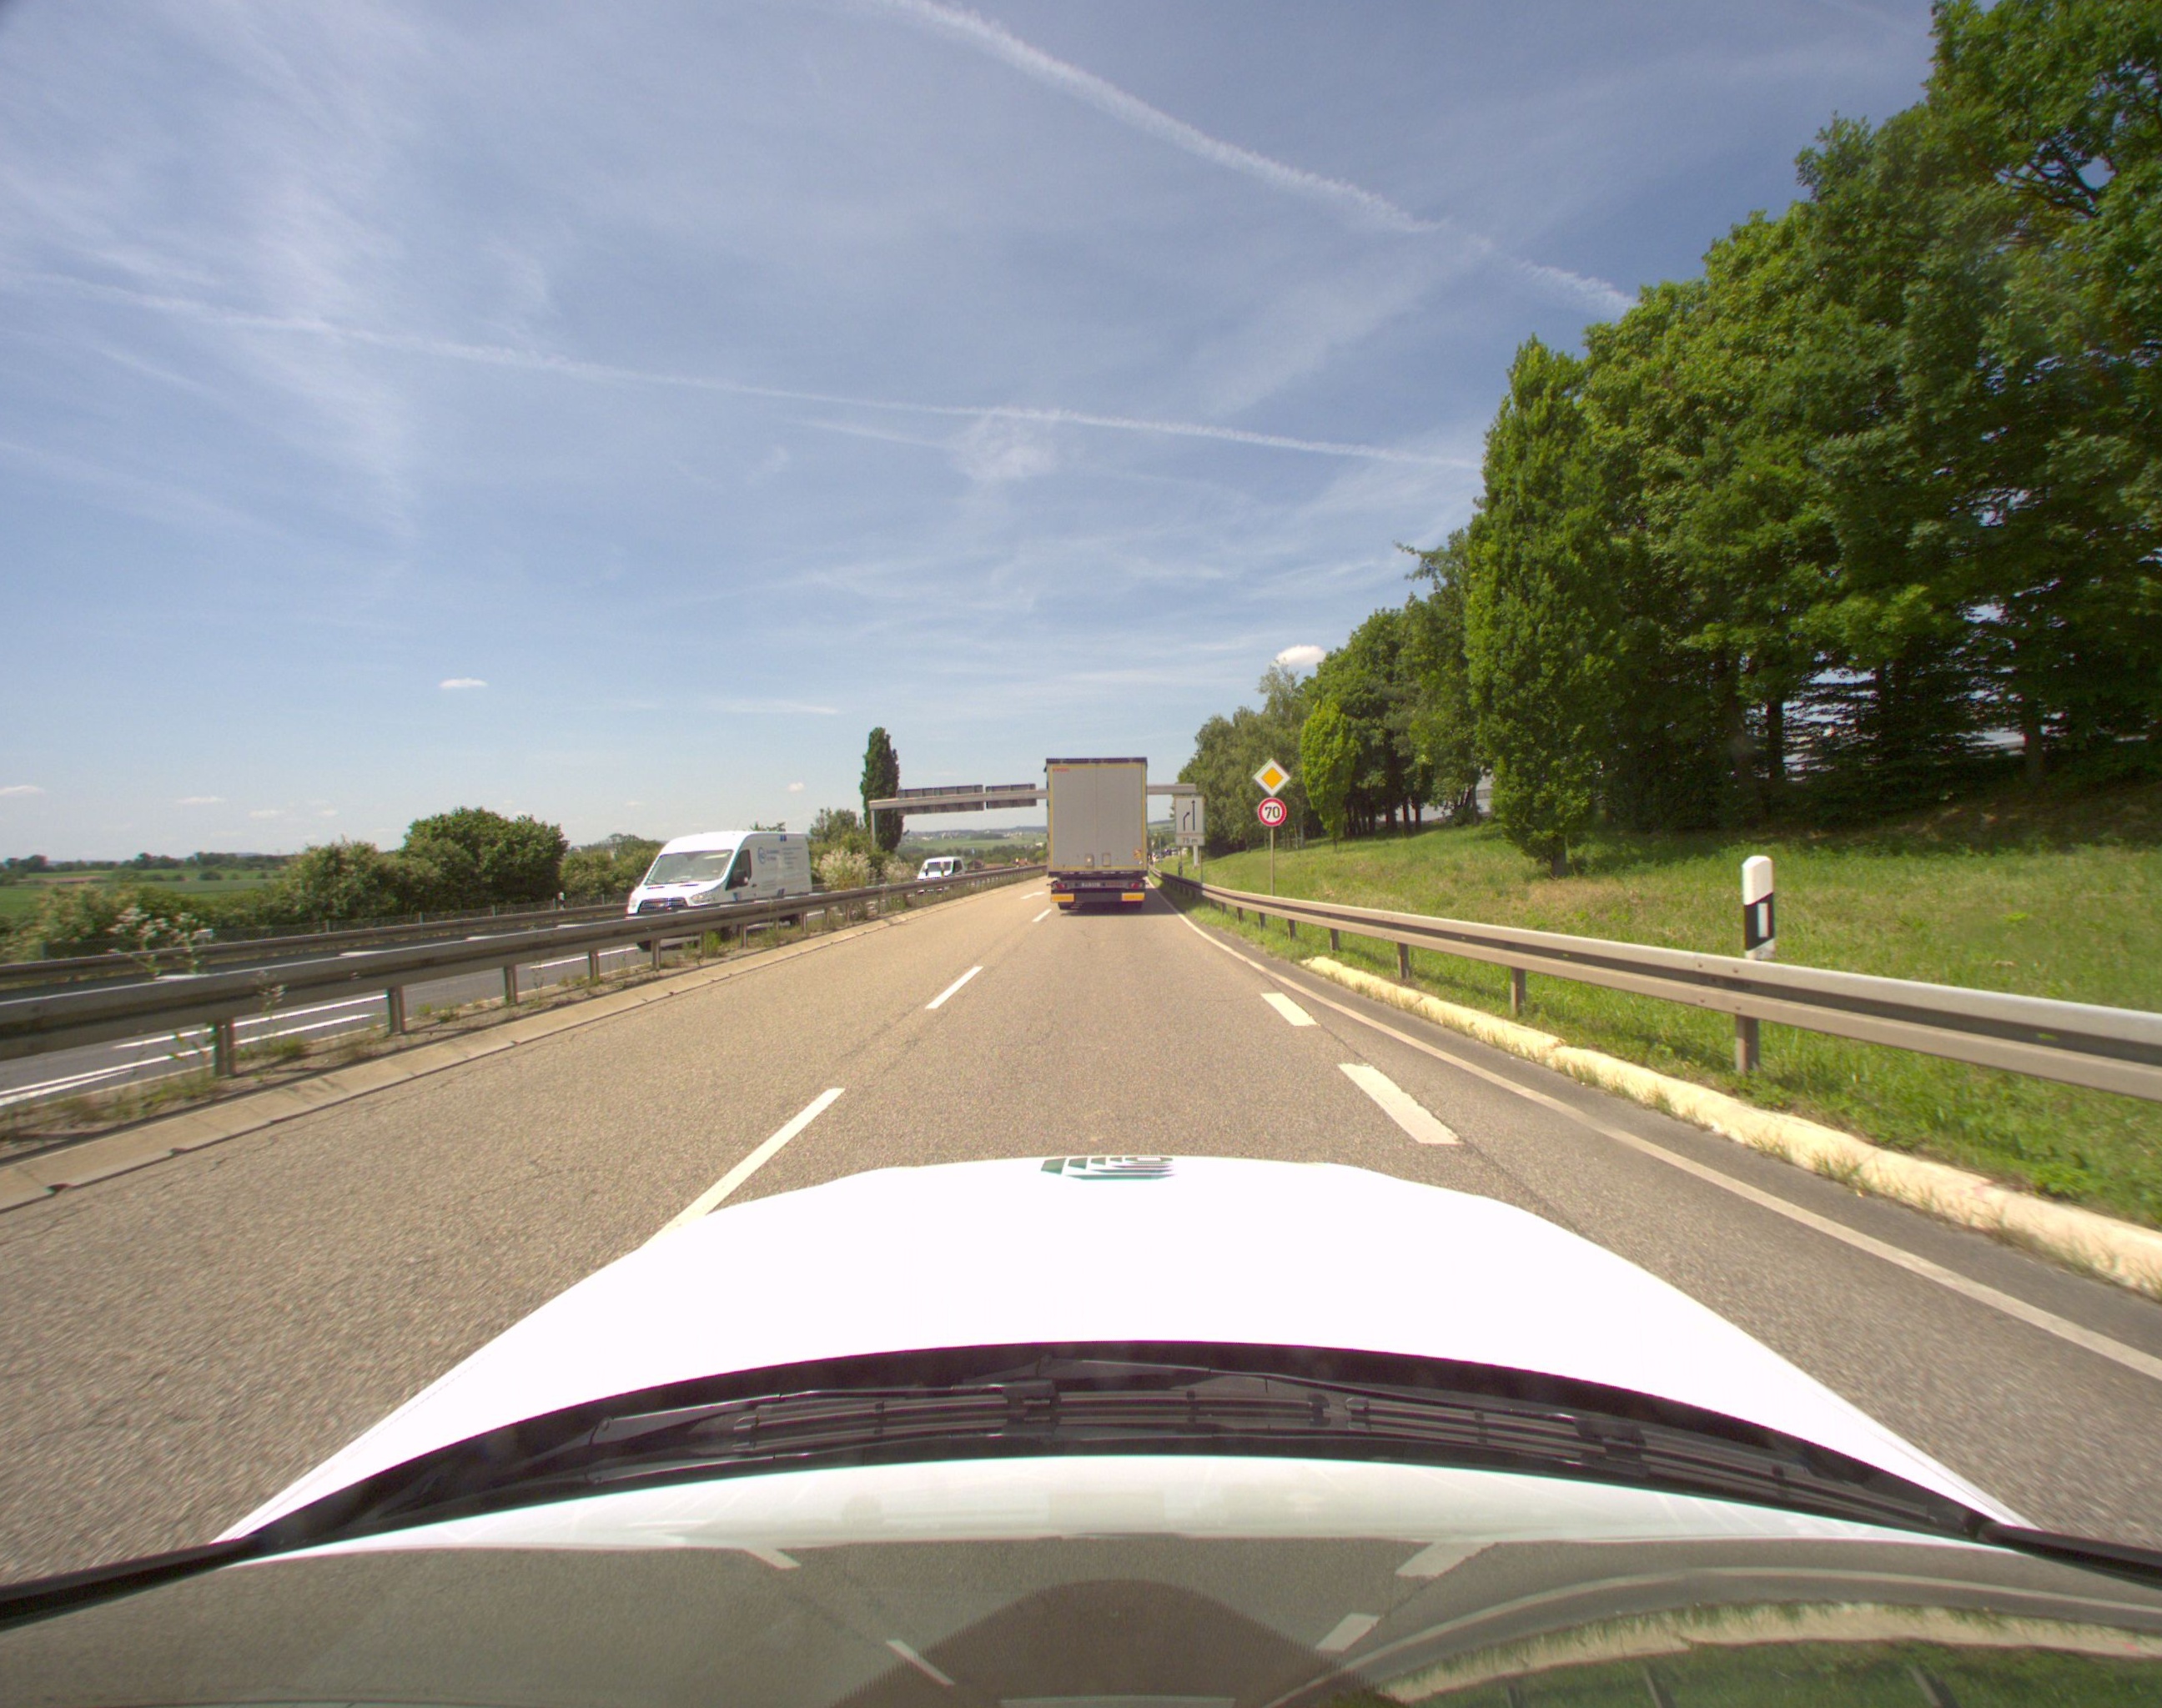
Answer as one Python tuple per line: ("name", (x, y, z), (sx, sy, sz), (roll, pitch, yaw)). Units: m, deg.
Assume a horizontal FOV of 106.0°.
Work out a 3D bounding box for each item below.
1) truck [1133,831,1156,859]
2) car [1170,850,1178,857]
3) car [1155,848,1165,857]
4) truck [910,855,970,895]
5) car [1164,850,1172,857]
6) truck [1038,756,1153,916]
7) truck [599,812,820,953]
("truck", (9.322, -1.263, 118.863), (2.640, 3.765, 10.185), (-1, -1, 8))
("car", (25.026, -0.162, 219.889), (1.779, 1.688, 4.003), (-1, -1, 3))
("car", (16.082, -0.306, 165.866), (1.779, 1.688, 4.003), (-1, -1, 3))
("truck", (-6.933, 1.017, 40.503), (1.841, 1.749, 4.541), (-4, -1, 3))
("car", (21.432, -0.196, 200.663), (1.779, 1.688, 4.003), (-1, -1, 3))
("truck", (0.619, -0.438, 25.903), (2.788, 3.929, 11.349), (-1, 0, 3))
("truck", (-8.262, 0.556, 18.994), (2.033, 2.620, 6.022), (-4, 0, 2))
